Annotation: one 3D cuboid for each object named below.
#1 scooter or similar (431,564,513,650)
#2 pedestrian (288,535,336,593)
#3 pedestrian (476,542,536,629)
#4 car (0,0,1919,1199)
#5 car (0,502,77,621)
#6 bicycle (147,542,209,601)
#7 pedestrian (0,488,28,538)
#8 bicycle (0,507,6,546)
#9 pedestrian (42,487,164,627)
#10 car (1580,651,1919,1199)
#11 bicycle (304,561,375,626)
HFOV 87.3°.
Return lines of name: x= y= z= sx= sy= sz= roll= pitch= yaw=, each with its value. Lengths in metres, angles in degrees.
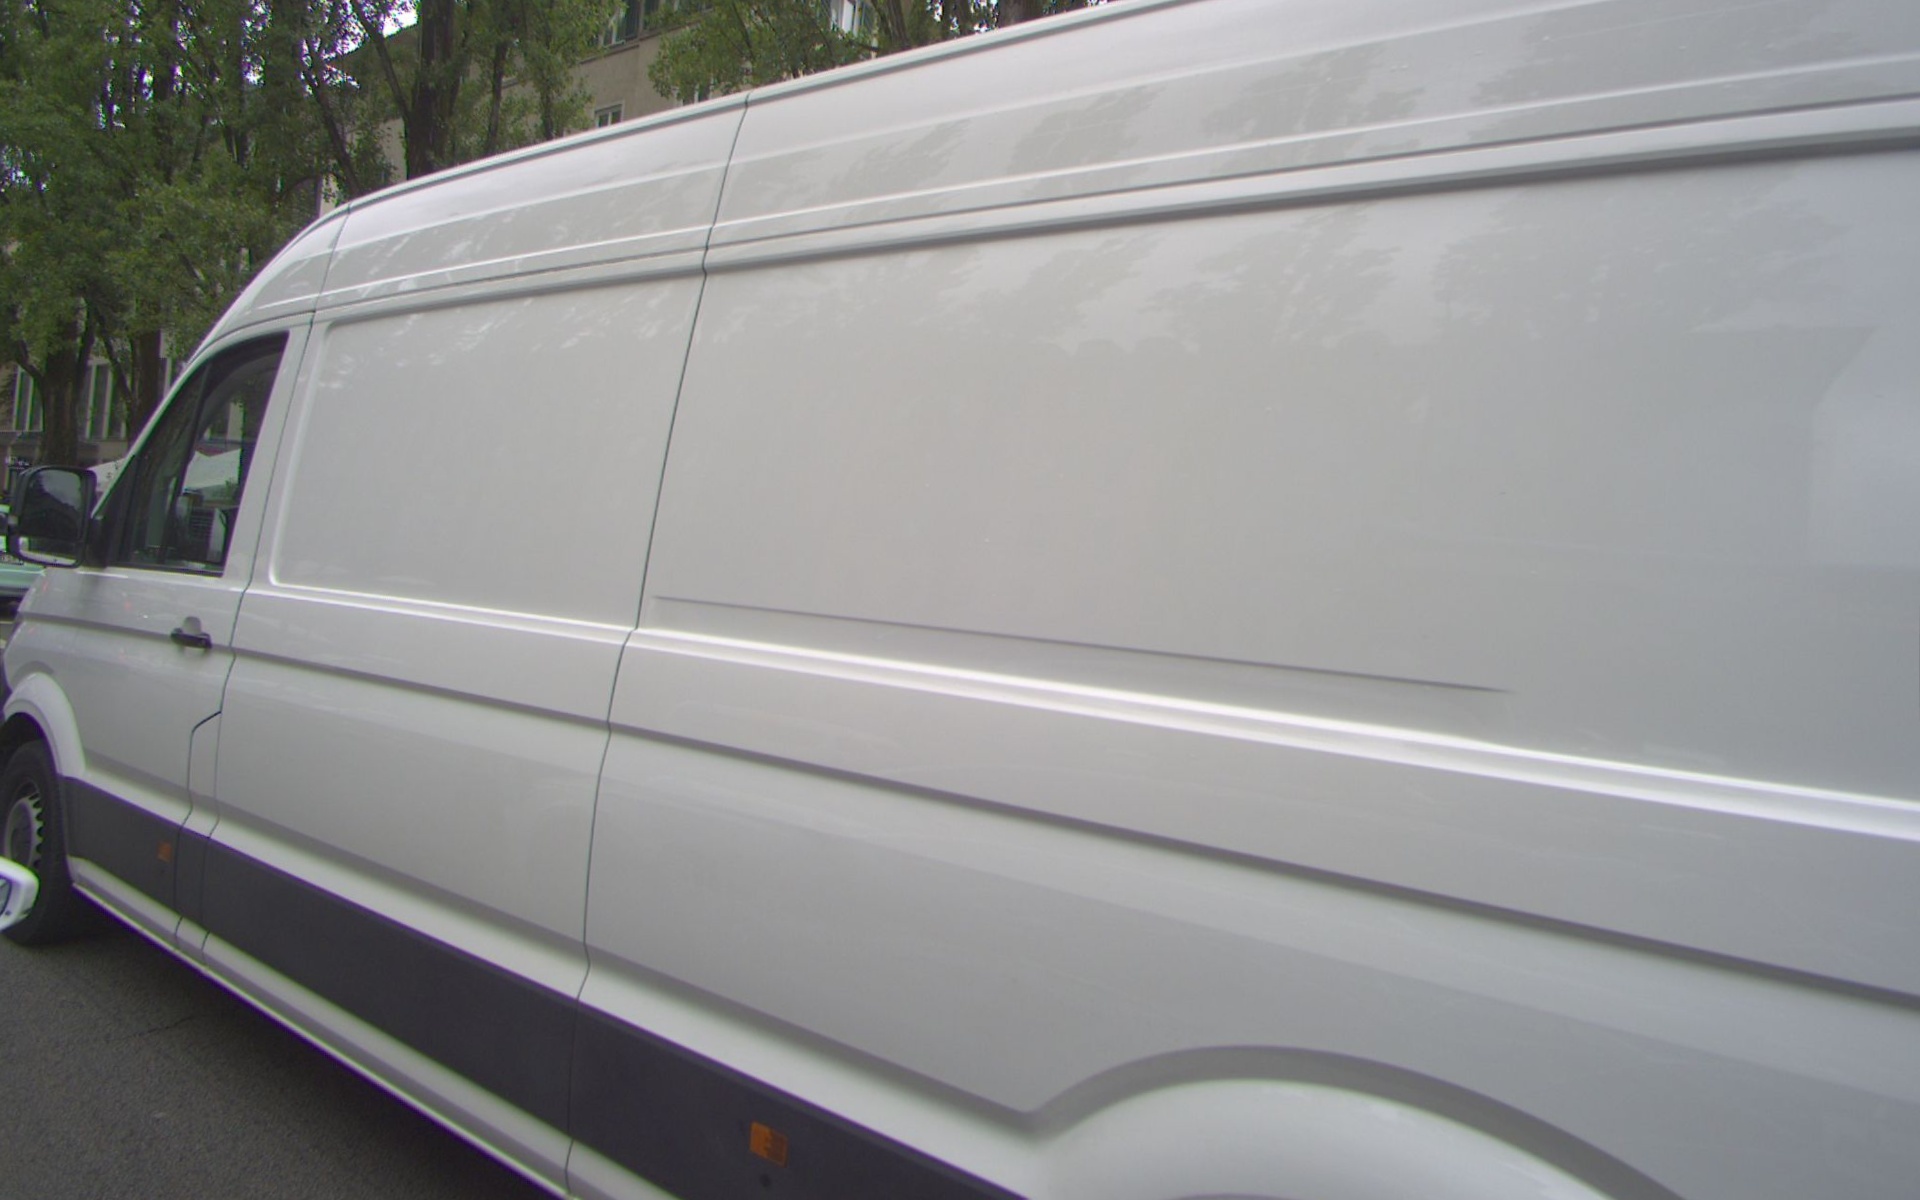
scooter or similar: x=-7.770 y=0.105 z=16.012 sx=1.419 sy=1.231 sz=0.327 roll=6 pitch=2 yaw=28
pedestrian: x=-16.366 y=-0.904 z=25.409 sx=0.787 sy=1.340 sz=0.639 roll=7 pitch=1 yaw=31
pedestrian: x=-9.080 y=-0.285 z=20.127 sx=0.855 sy=1.627 sz=0.617 roll=7 pitch=2 yaw=29
car: x=-0.754 y=0.180 z=2.914 sx=6.619 sy=2.522 sz=2.066 roll=6 pitch=-1 yaw=32
car: x=-14.172 y=-0.684 z=14.221 sx=3.465 sy=1.510 sz=1.543 roll=6 pitch=-1 yaw=33
bicycle: x=-15.099 y=-0.554 z=19.423 sx=1.429 sy=1.009 sz=0.349 roll=6 pitch=2 yaw=28
pedestrian: x=-34.311 y=-3.141 z=36.316 sx=0.745 sy=1.707 sz=0.674 roll=6 pitch=1 yaw=27
bicycle: x=-30.667 y=-2.387 z=30.604 sx=0.616 sy=1.219 sz=2.230 roll=7 pitch=0 yaw=30
pedestrian: x=-11.868 y=-0.573 z=13.960 sx=0.816 sy=1.795 sz=0.869 roll=6 pitch=0 yaw=-8
car: x=4.504 y=1.270 z=2.937 sx=4.372 sy=1.657 sz=1.807 roll=6 pitch=-1 yaw=30
bicycle: x=-11.019 y=-0.122 z=17.854 sx=1.429 sy=1.009 sz=0.349 roll=6 pitch=2 yaw=28
